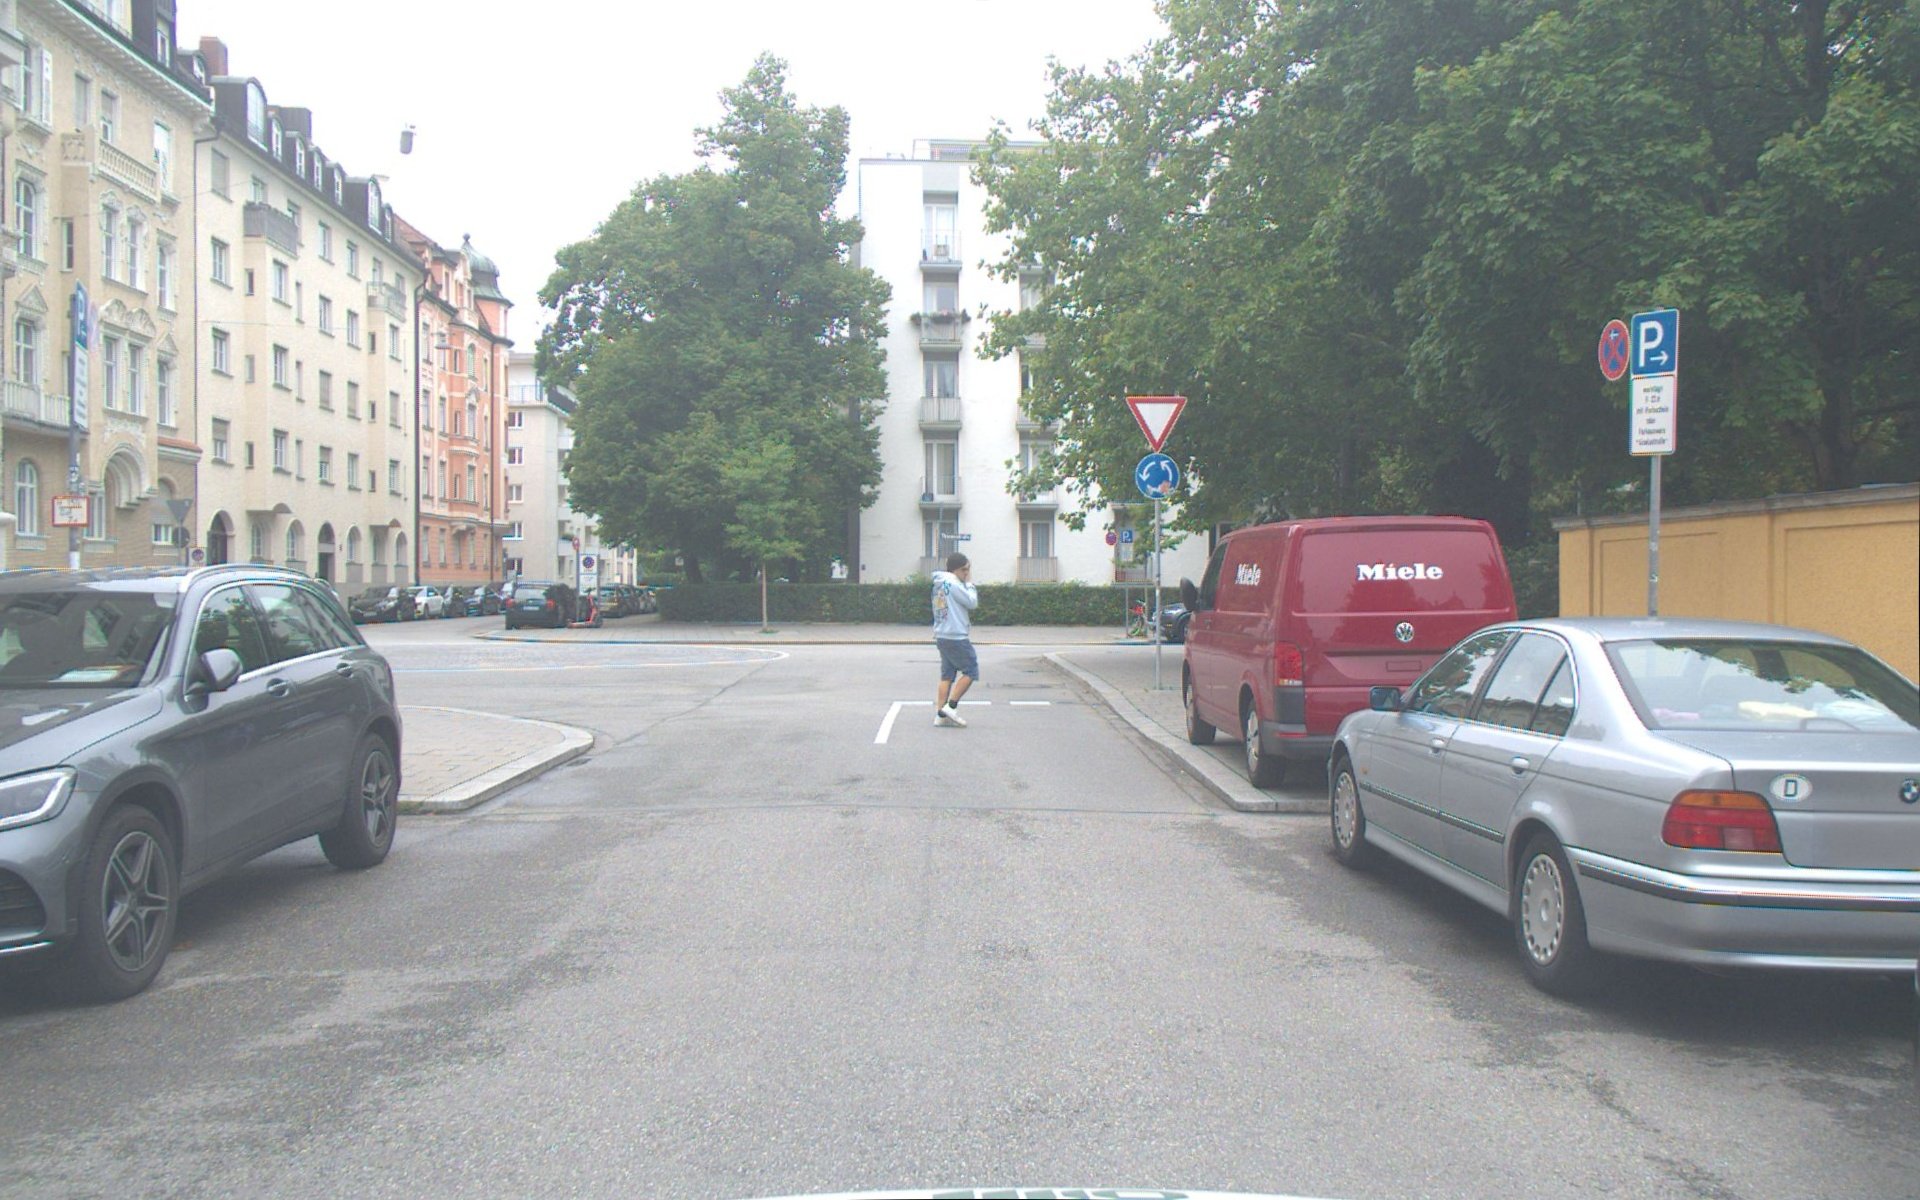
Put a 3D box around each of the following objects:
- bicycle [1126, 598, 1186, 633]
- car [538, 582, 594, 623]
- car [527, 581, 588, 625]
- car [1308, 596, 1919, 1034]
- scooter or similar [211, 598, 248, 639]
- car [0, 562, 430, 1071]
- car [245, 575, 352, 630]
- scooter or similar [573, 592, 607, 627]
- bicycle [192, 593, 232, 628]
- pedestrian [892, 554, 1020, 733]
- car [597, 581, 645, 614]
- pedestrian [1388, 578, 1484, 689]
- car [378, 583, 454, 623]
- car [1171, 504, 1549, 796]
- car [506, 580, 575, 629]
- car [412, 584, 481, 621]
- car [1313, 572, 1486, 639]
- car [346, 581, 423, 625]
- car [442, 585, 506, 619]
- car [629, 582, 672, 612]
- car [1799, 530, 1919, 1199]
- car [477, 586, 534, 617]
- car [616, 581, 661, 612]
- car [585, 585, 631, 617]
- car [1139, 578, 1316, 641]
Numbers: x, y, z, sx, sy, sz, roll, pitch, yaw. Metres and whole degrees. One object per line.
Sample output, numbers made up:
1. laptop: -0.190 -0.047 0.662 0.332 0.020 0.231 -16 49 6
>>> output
1. bicycle: 6.063 0.479 51.236 1.794 1.067 0.490 0 0 -15
2. car: -15.471 0.076 65.119 1.760 1.531 4.107 -1 1 -9
3. car: -14.715 0.091 60.597 1.760 1.531 4.226 -1 1 -9
4. car: 3.190 0.768 8.009 1.847 1.474 4.366 2 1 -3
5. scooter or similar: -21.995 0.560 49.787 1.191 1.214 0.466 1 0 35
6. car: -3.961 0.694 7.516 1.711 1.630 4.495 -1 0 -1
7. car: -21.964 0.064 55.123 1.937 1.730 4.836 0 1 -5
8. scooter or similar: -11.823 0.290 52.805 0.989 1.107 0.386 0 0 -32
9. bicycle: -23.736 0.333 52.510 0.552 1.067 1.829 0 1 -5
10. pedestrian: -0.046 0.434 17.302 1.039 1.802 0.866 0 0 -33
11. car: -17.696 -0.145 86.493 1.798 1.663 4.113 -1 1 -3
12. pedestrian: 5.973 0.407 20.814 0.988 1.361 0.877 0 0 3
13. car: -23.109 0.096 70.404 1.936 1.608 4.406 0 1 -3
14. car: 3.049 0.317 13.738 1.836 1.954 4.886 1 1 -1
15. car: -13.991 0.114 55.392 1.785 1.531 4.413 -1 1 -9
16. car: -23.394 0.085 75.561 1.936 1.608 4.406 0 1 -2
17. car: 13.223 0.170 49.889 4.744 1.952 1.831 0 -1 -10
18. car: -22.746 0.090 65.536 1.938 1.644 4.705 0 1 -7
19. car: -23.620 0.074 80.555 1.936 1.608 4.406 0 1 -2
20. car: -17.991 -0.210 96.199 1.798 1.663 3.819 -1 1 -1
21. car: 3.205 0.727 1.911 1.846 1.682 4.822 2 1 -2
22. car: -24.020 0.054 87.462 1.936 1.608 4.406 0 1 -2
23. car: -17.885 -0.212 92.157 1.798 1.663 3.819 -1 1 -1
24. car: -17.388 0.031 81.894 1.800 1.531 4.109 -1 1 -7
25. car: 7.869 0.283 48.917 4.806 1.823 1.996 0 -1 -9
